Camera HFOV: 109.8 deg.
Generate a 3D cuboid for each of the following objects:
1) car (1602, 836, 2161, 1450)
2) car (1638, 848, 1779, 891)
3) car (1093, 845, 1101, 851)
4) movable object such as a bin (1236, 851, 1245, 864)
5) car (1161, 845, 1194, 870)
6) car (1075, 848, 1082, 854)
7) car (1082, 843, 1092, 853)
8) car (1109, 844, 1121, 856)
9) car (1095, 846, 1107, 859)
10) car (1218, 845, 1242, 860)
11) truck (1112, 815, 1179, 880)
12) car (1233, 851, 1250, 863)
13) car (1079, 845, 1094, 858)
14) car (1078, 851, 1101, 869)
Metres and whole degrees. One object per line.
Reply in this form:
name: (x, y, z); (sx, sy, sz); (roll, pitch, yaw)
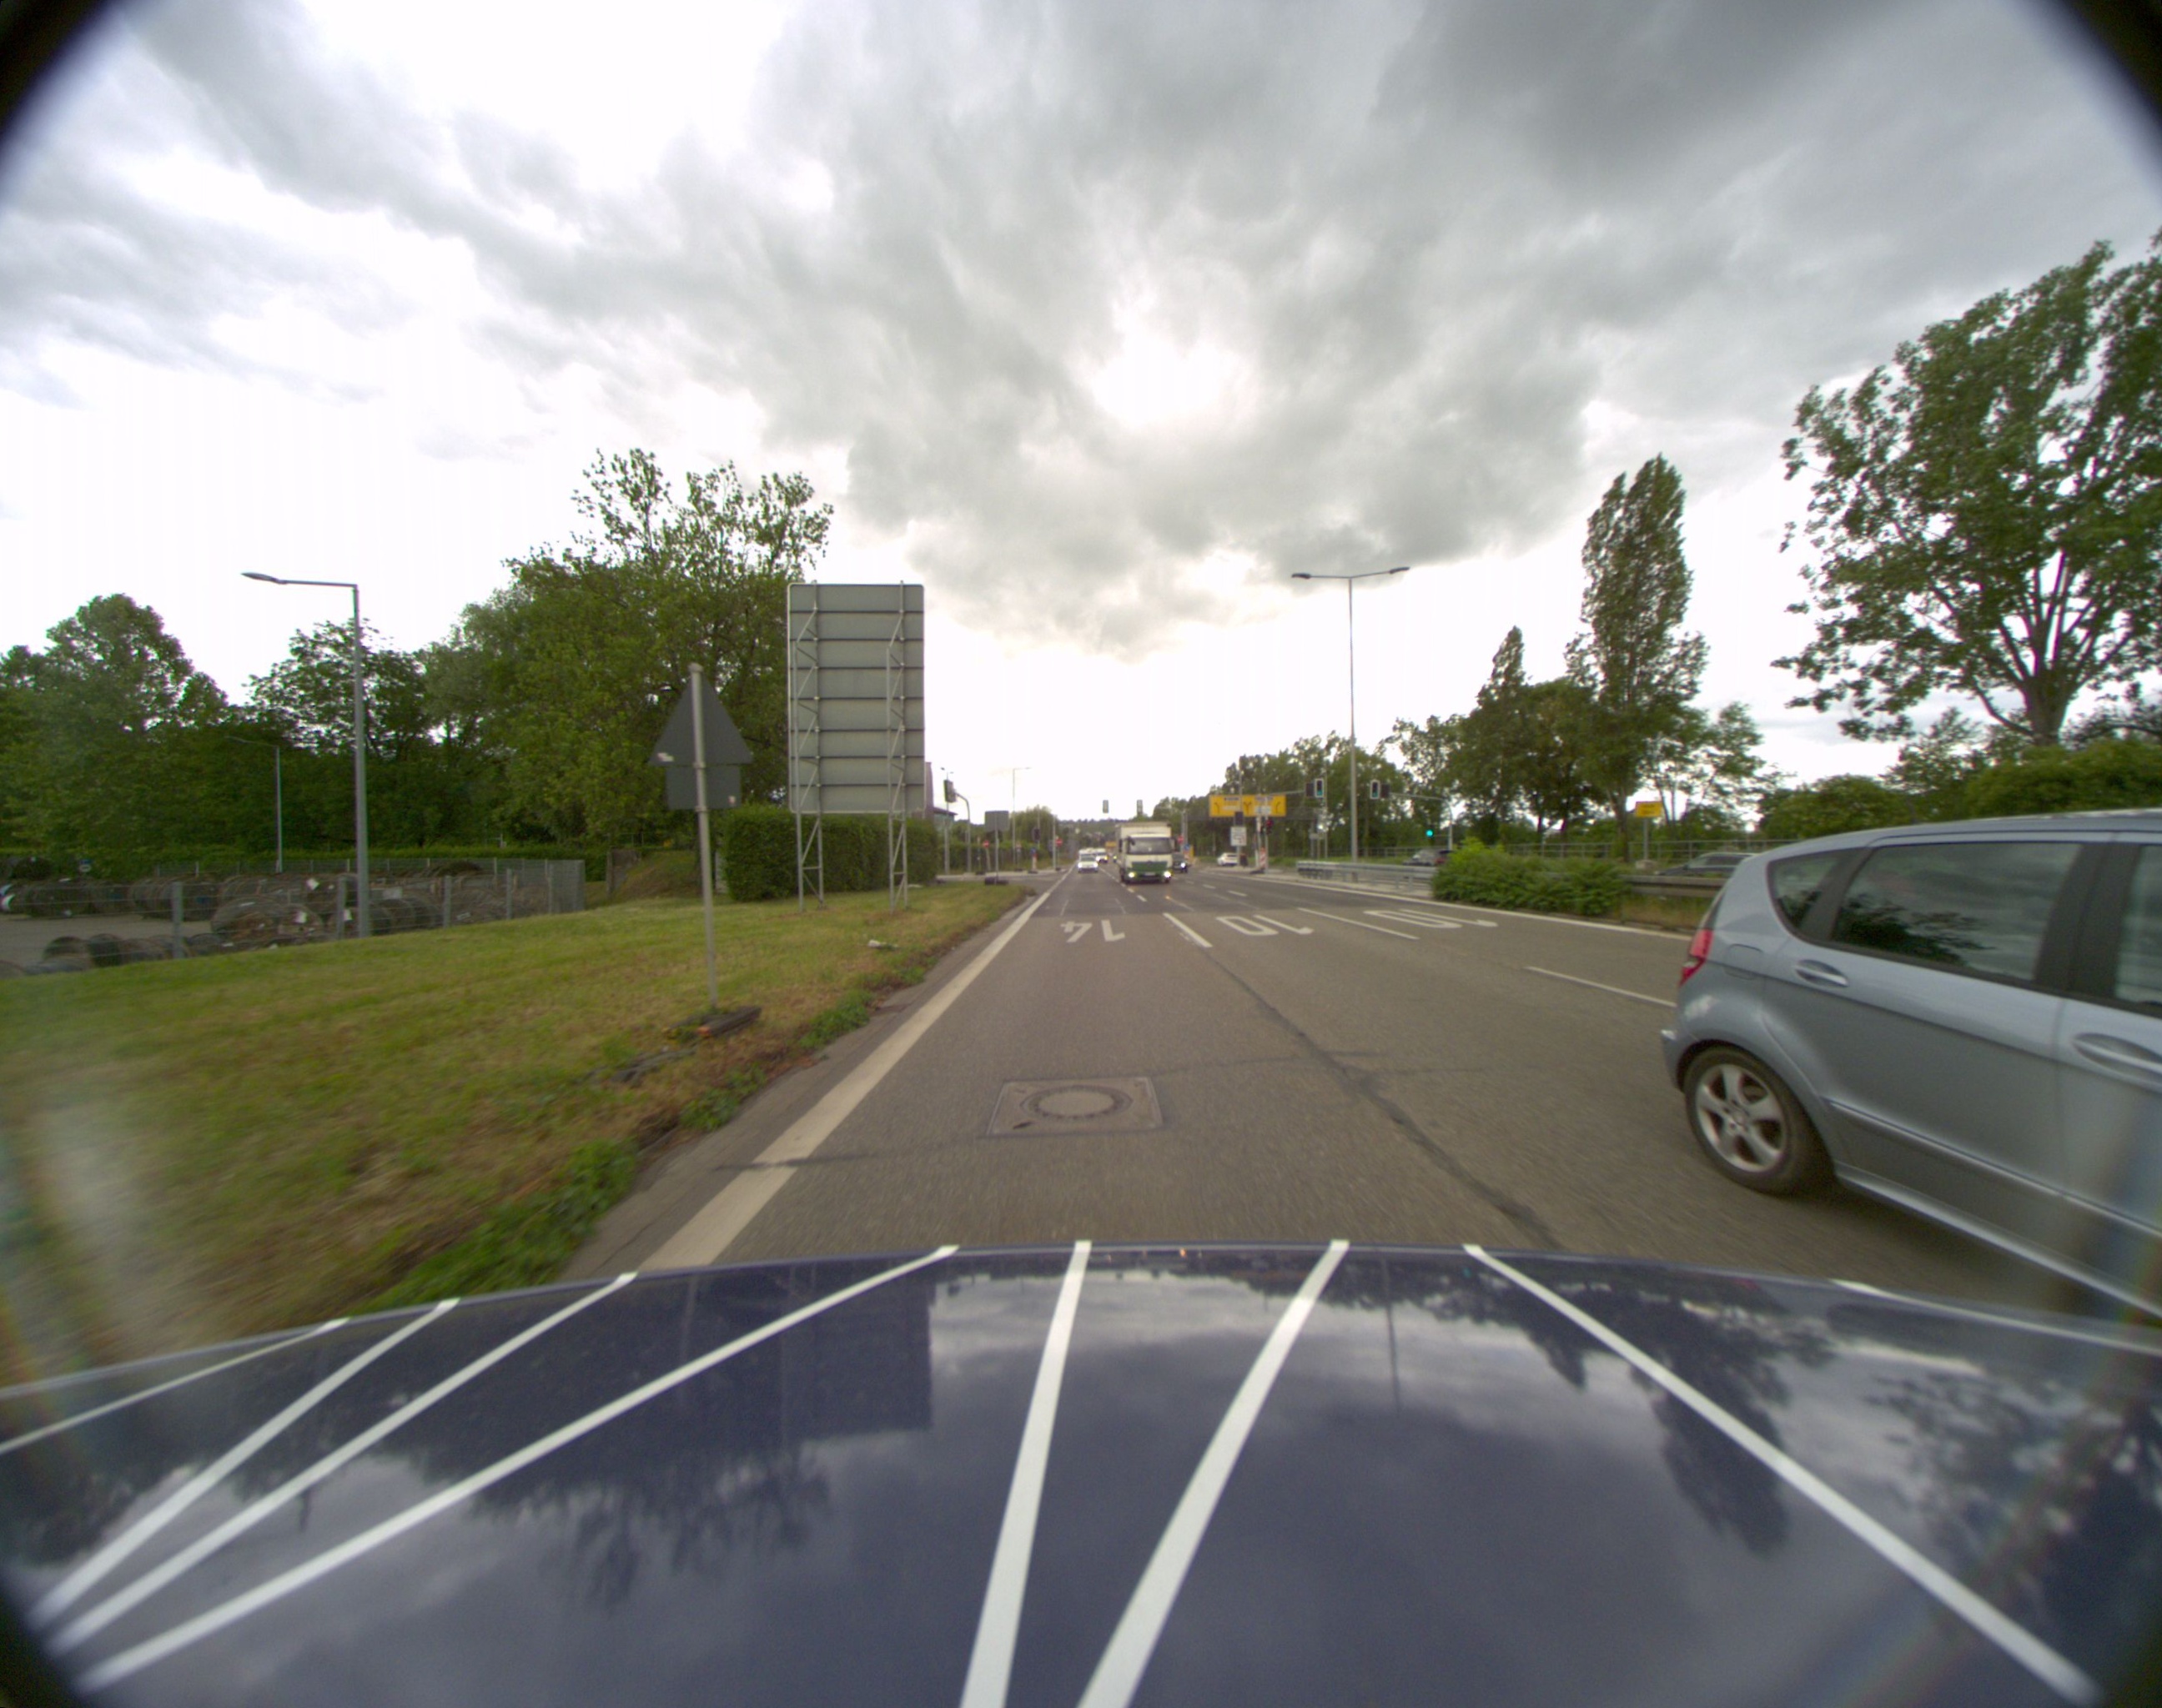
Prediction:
car: (3.641, 0.714, 1.851); (1.883, 1.530, 4.146); (-1, 0, 0)
car: (22.535, 0.508, 27.502); (1.781, 1.410, 4.066); (-1, 0, 1)
car: (4.552, -1.662, 216.872); (1.949, 1.811, 3.999); (-1, 0, 0)
movable object such as a bin: (12.086, 0.253, 57.565); (0.570, 1.018, 0.622); (-1, 1, 4)
car: (7.122, 0.234, 56.552); (1.883, 1.715, 4.146); (-1, 0, 0)
car: (-0.716, -0.849, 221.577); (1.949, 1.811, 3.999); (-1, 0, 0)
car: (1.111, -1.162, 147.360); (1.949, 1.811, 3.999); (-1, 0, 0)
car: (6.311, -0.764, 141.681); (1.949, 2.176, 3.999); (-1, 0, 0)
car: (3.581, -0.316, 133.694); (1.949, 2.176, 3.999); (-1, 0, 0)
car: (16.598, -0.168, 84.812); (1.702, 1.517, 5.001); (1, 0, 0)
truck: (3.365, -0.340, 43.185); (2.657, 3.121, 12.507); (-1, 0, 0)
car: (19.959, 0.338, 94.581); (1.508, 1.467, 2.633); (1, 0, 1)
car: (0.701, -0.382, 101.736); (1.883, 1.715, 4.146); (-1, 0, 0)
car: (0.736, 0.490, 68.493); (1.949, 1.517, 3.999); (-1, 0, 0)
